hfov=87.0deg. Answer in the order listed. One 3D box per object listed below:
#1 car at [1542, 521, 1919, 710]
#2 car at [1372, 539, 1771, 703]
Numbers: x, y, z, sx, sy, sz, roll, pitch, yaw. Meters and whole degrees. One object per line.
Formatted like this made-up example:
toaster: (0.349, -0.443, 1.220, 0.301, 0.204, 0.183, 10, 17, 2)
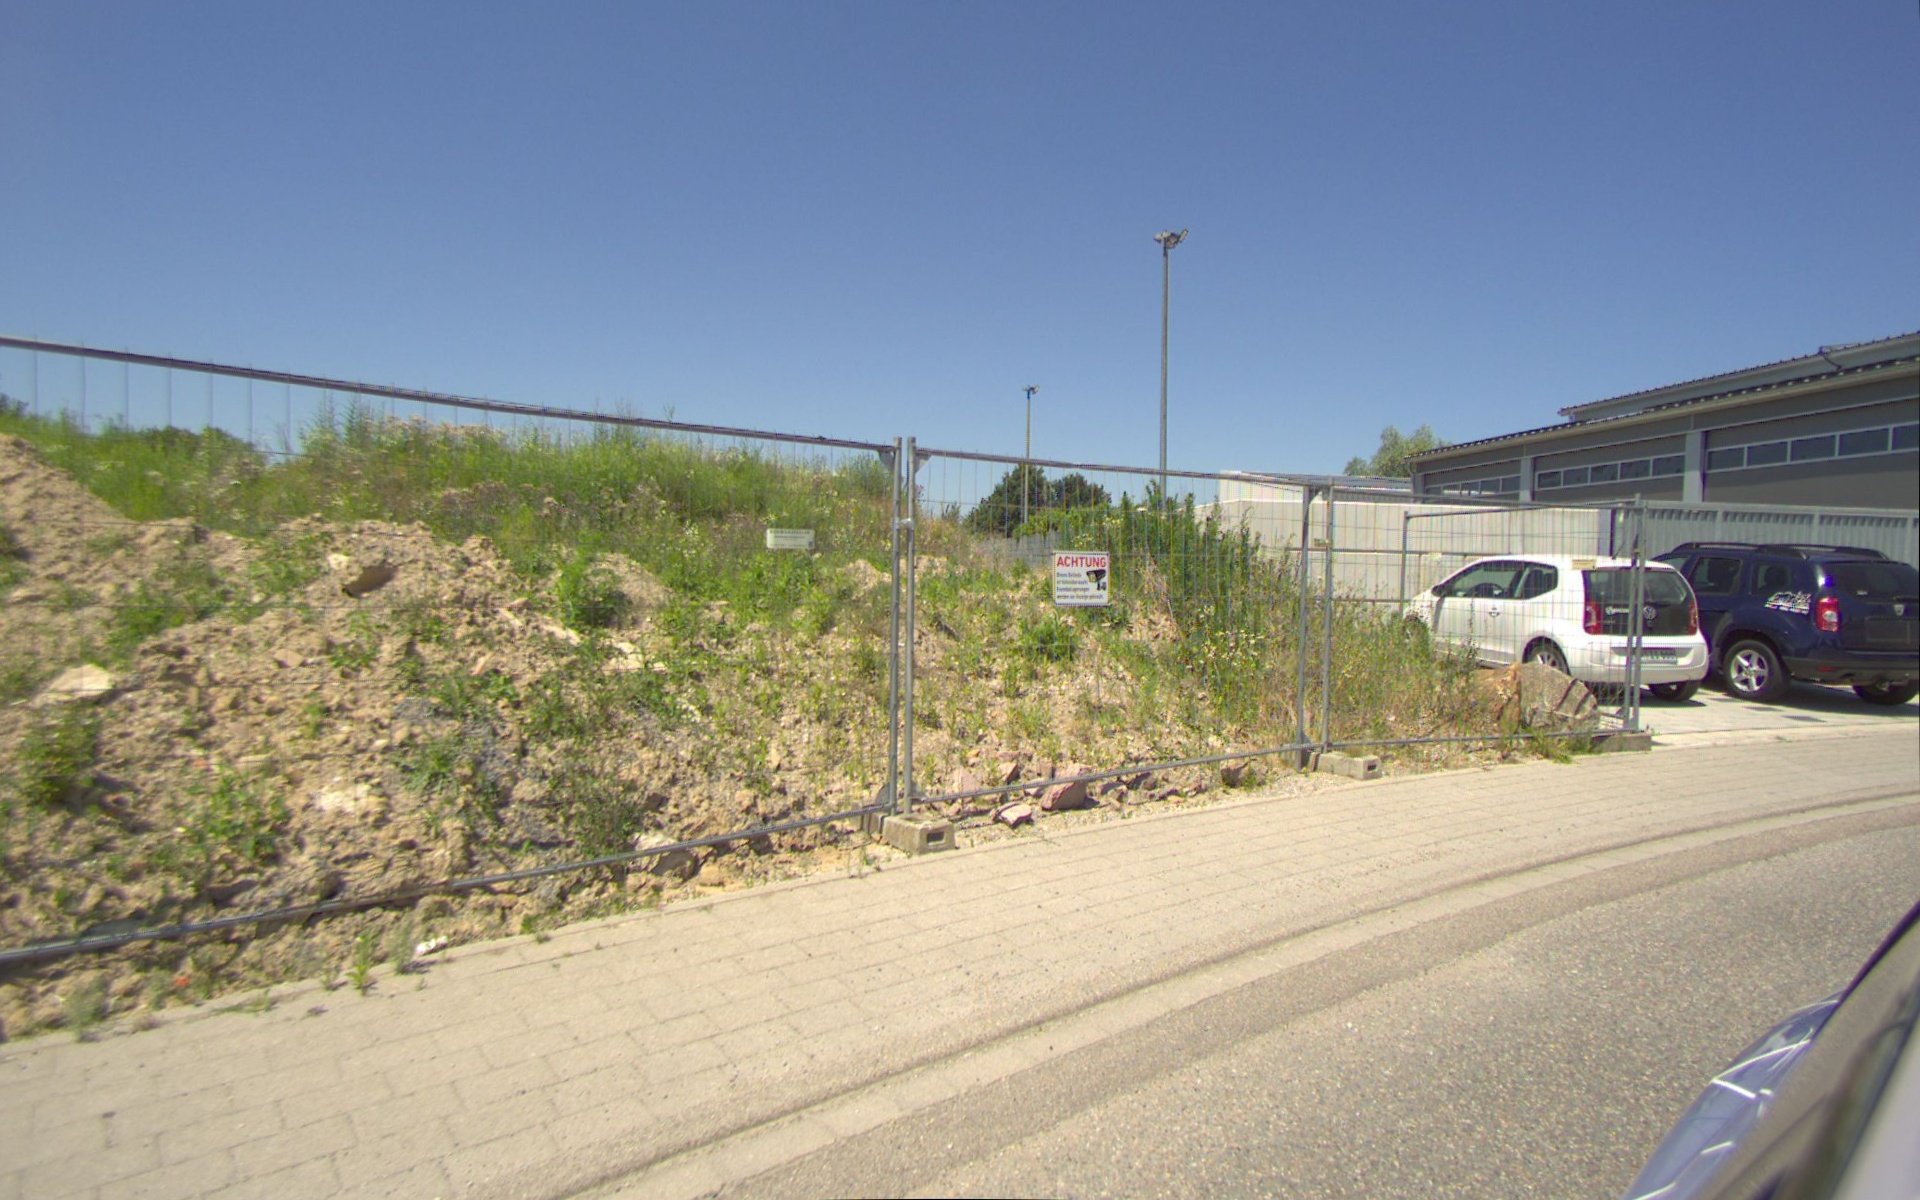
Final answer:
car: (9.110, 0.013, 11.892, 1.820, 1.674, 4.033, 1, 7, -6)
car: (6.778, 0.094, 11.855, 1.854, 1.479, 4.031, 1, 5, -6)
